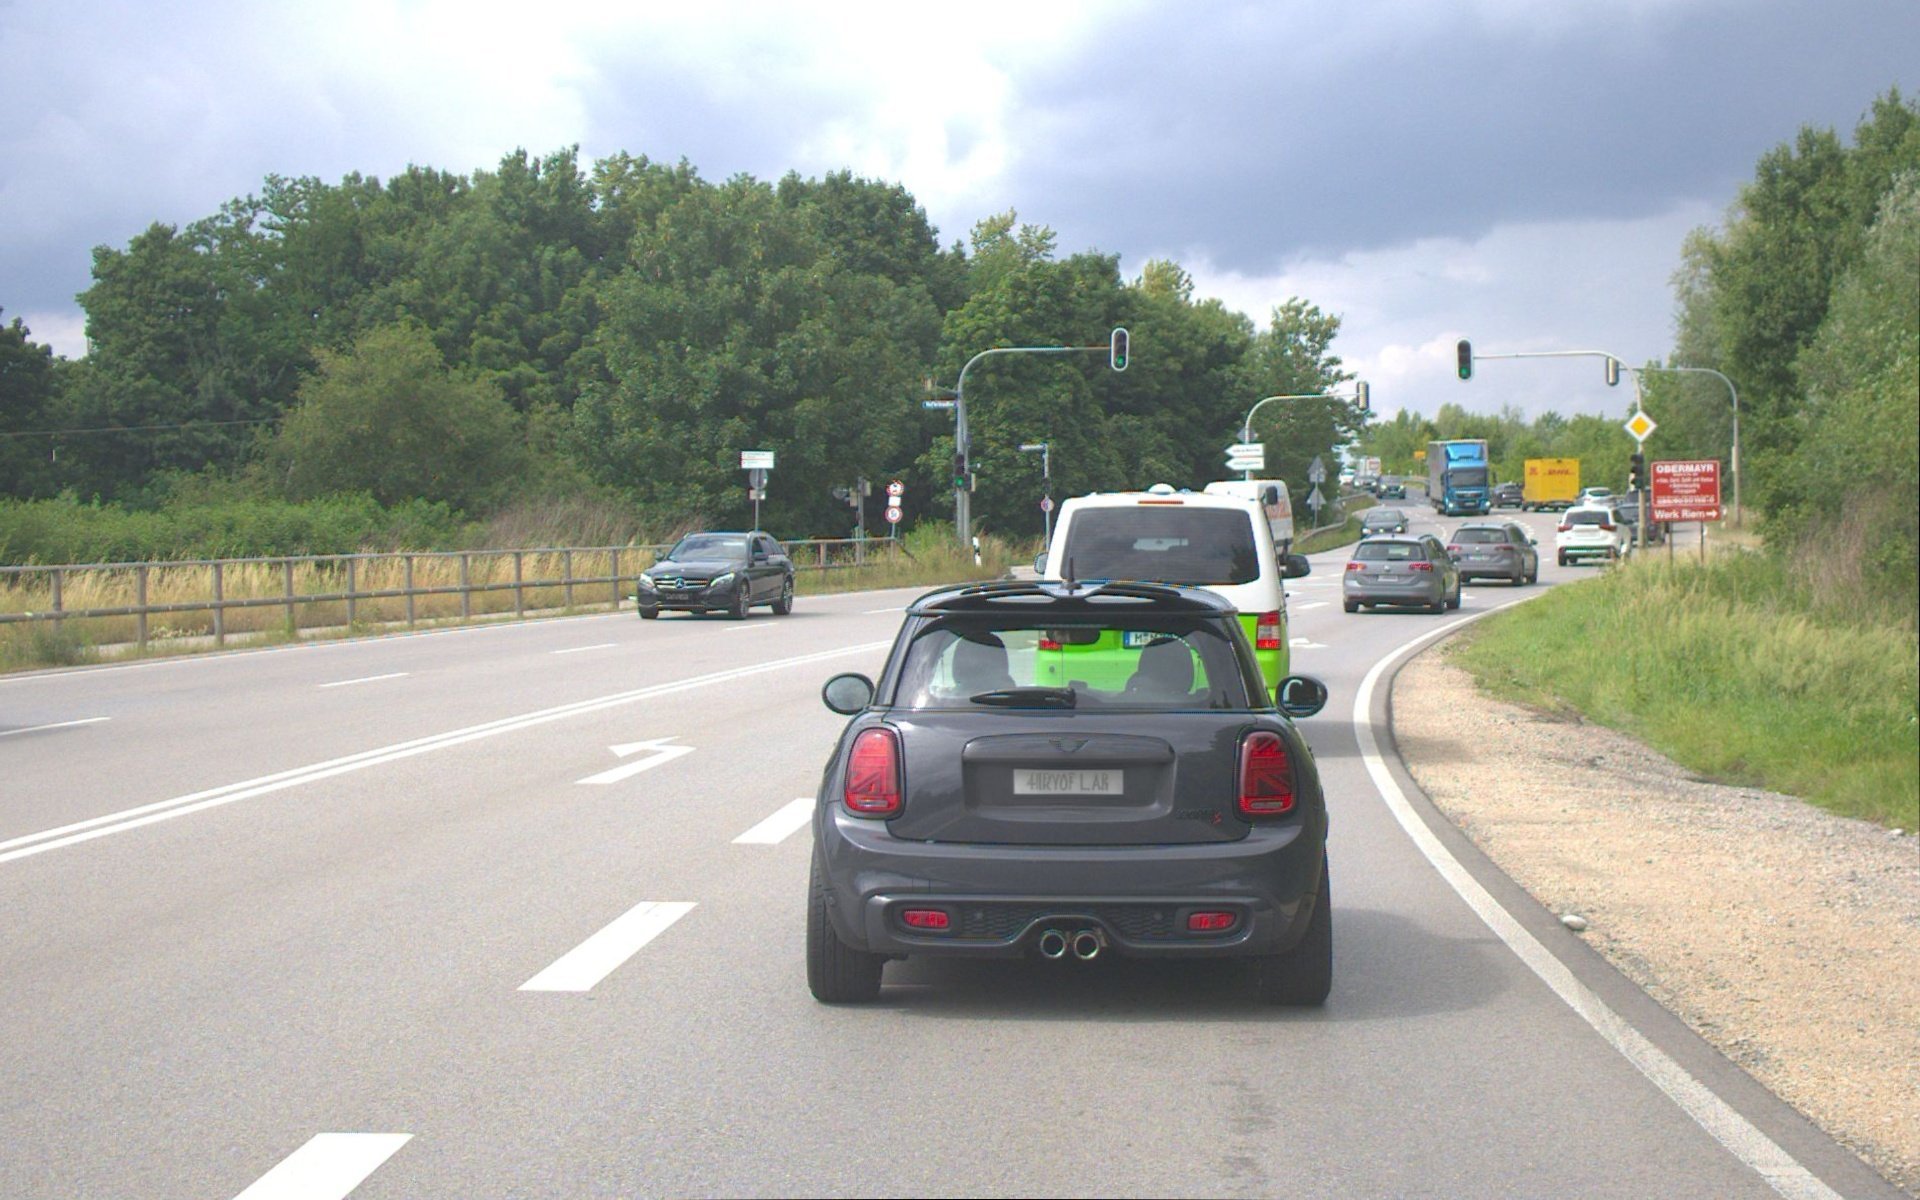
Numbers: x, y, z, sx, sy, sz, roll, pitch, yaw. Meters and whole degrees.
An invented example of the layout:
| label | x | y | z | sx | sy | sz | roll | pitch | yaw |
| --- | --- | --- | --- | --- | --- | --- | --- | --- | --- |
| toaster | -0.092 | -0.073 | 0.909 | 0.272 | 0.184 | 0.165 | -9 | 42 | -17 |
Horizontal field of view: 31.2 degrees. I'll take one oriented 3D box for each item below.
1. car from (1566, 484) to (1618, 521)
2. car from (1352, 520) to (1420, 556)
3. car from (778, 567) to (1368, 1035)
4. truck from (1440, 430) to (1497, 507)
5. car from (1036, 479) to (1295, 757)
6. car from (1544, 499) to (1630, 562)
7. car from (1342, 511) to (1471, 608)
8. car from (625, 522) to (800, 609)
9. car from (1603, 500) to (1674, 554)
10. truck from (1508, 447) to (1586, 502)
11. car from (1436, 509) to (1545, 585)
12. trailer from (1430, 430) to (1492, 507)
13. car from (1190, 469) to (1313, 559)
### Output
| label | x | y | z | sx | sy | sz | roll | pitch | yaw |
| --- | --- | --- | --- | --- | --- | --- | --- | --- | --- |
| car | 31.325 | -4.861 | 170.459 | 1.994 | 1.781 | 4.485 | -1 | 2 | 4 |
| car | 17.349 | -2.538 | 139.845 | 1.948 | 1.436 | 3.996 | 0 | 1 | 19 |
| car | 0.449 | 0.610 | 12.735 | 1.845 | 1.423 | 3.841 | 0 | 1 | 3 |
| truck | 27.147 | -7.009 | 183.672 | 2.540 | 4.082 | 4.000 | 0 | 1 | 1 |
| car | 1.627 | 0.083 | 26.627 | 1.845 | 1.980 | 3.840 | 0 | 1 | 5 |
| car | 17.715 | -1.948 | 97.055 | 1.995 | 1.678 | 3.997 | 1 | 0 | 16 |
| car | 8.242 | -0.722 | 63.239 | 1.994 | 1.678 | 3.998 | 1 | 0 | 12 |
| car | -4.228 | -0.617 | 59.354 | 1.809 | 1.437 | 4.351 | 0 | 1 | 13 |
| car | 22.677 | -2.414 | 114.812 | 1.995 | 1.678 | 3.997 | 1 | 0 | 16 |
| truck | 32.091 | -6.830 | 188.283 | 2.717 | 2.888 | 8.771 | 0 | 1 | 0 |
| car | 12.501 | -1.236 | 80.826 | 1.995 | 1.678 | 3.974 | 1 | 0 | 16 |
| trailer | 27.212 | -7.119 | 187.030 | 2.527 | 4.086 | 6.735 | 0 | 1 | 1 |
| car | 8.989 | -2.619 | 105.326 | 2.435 | 2.665 | 6.883 | 0 | 1 | 16 |
